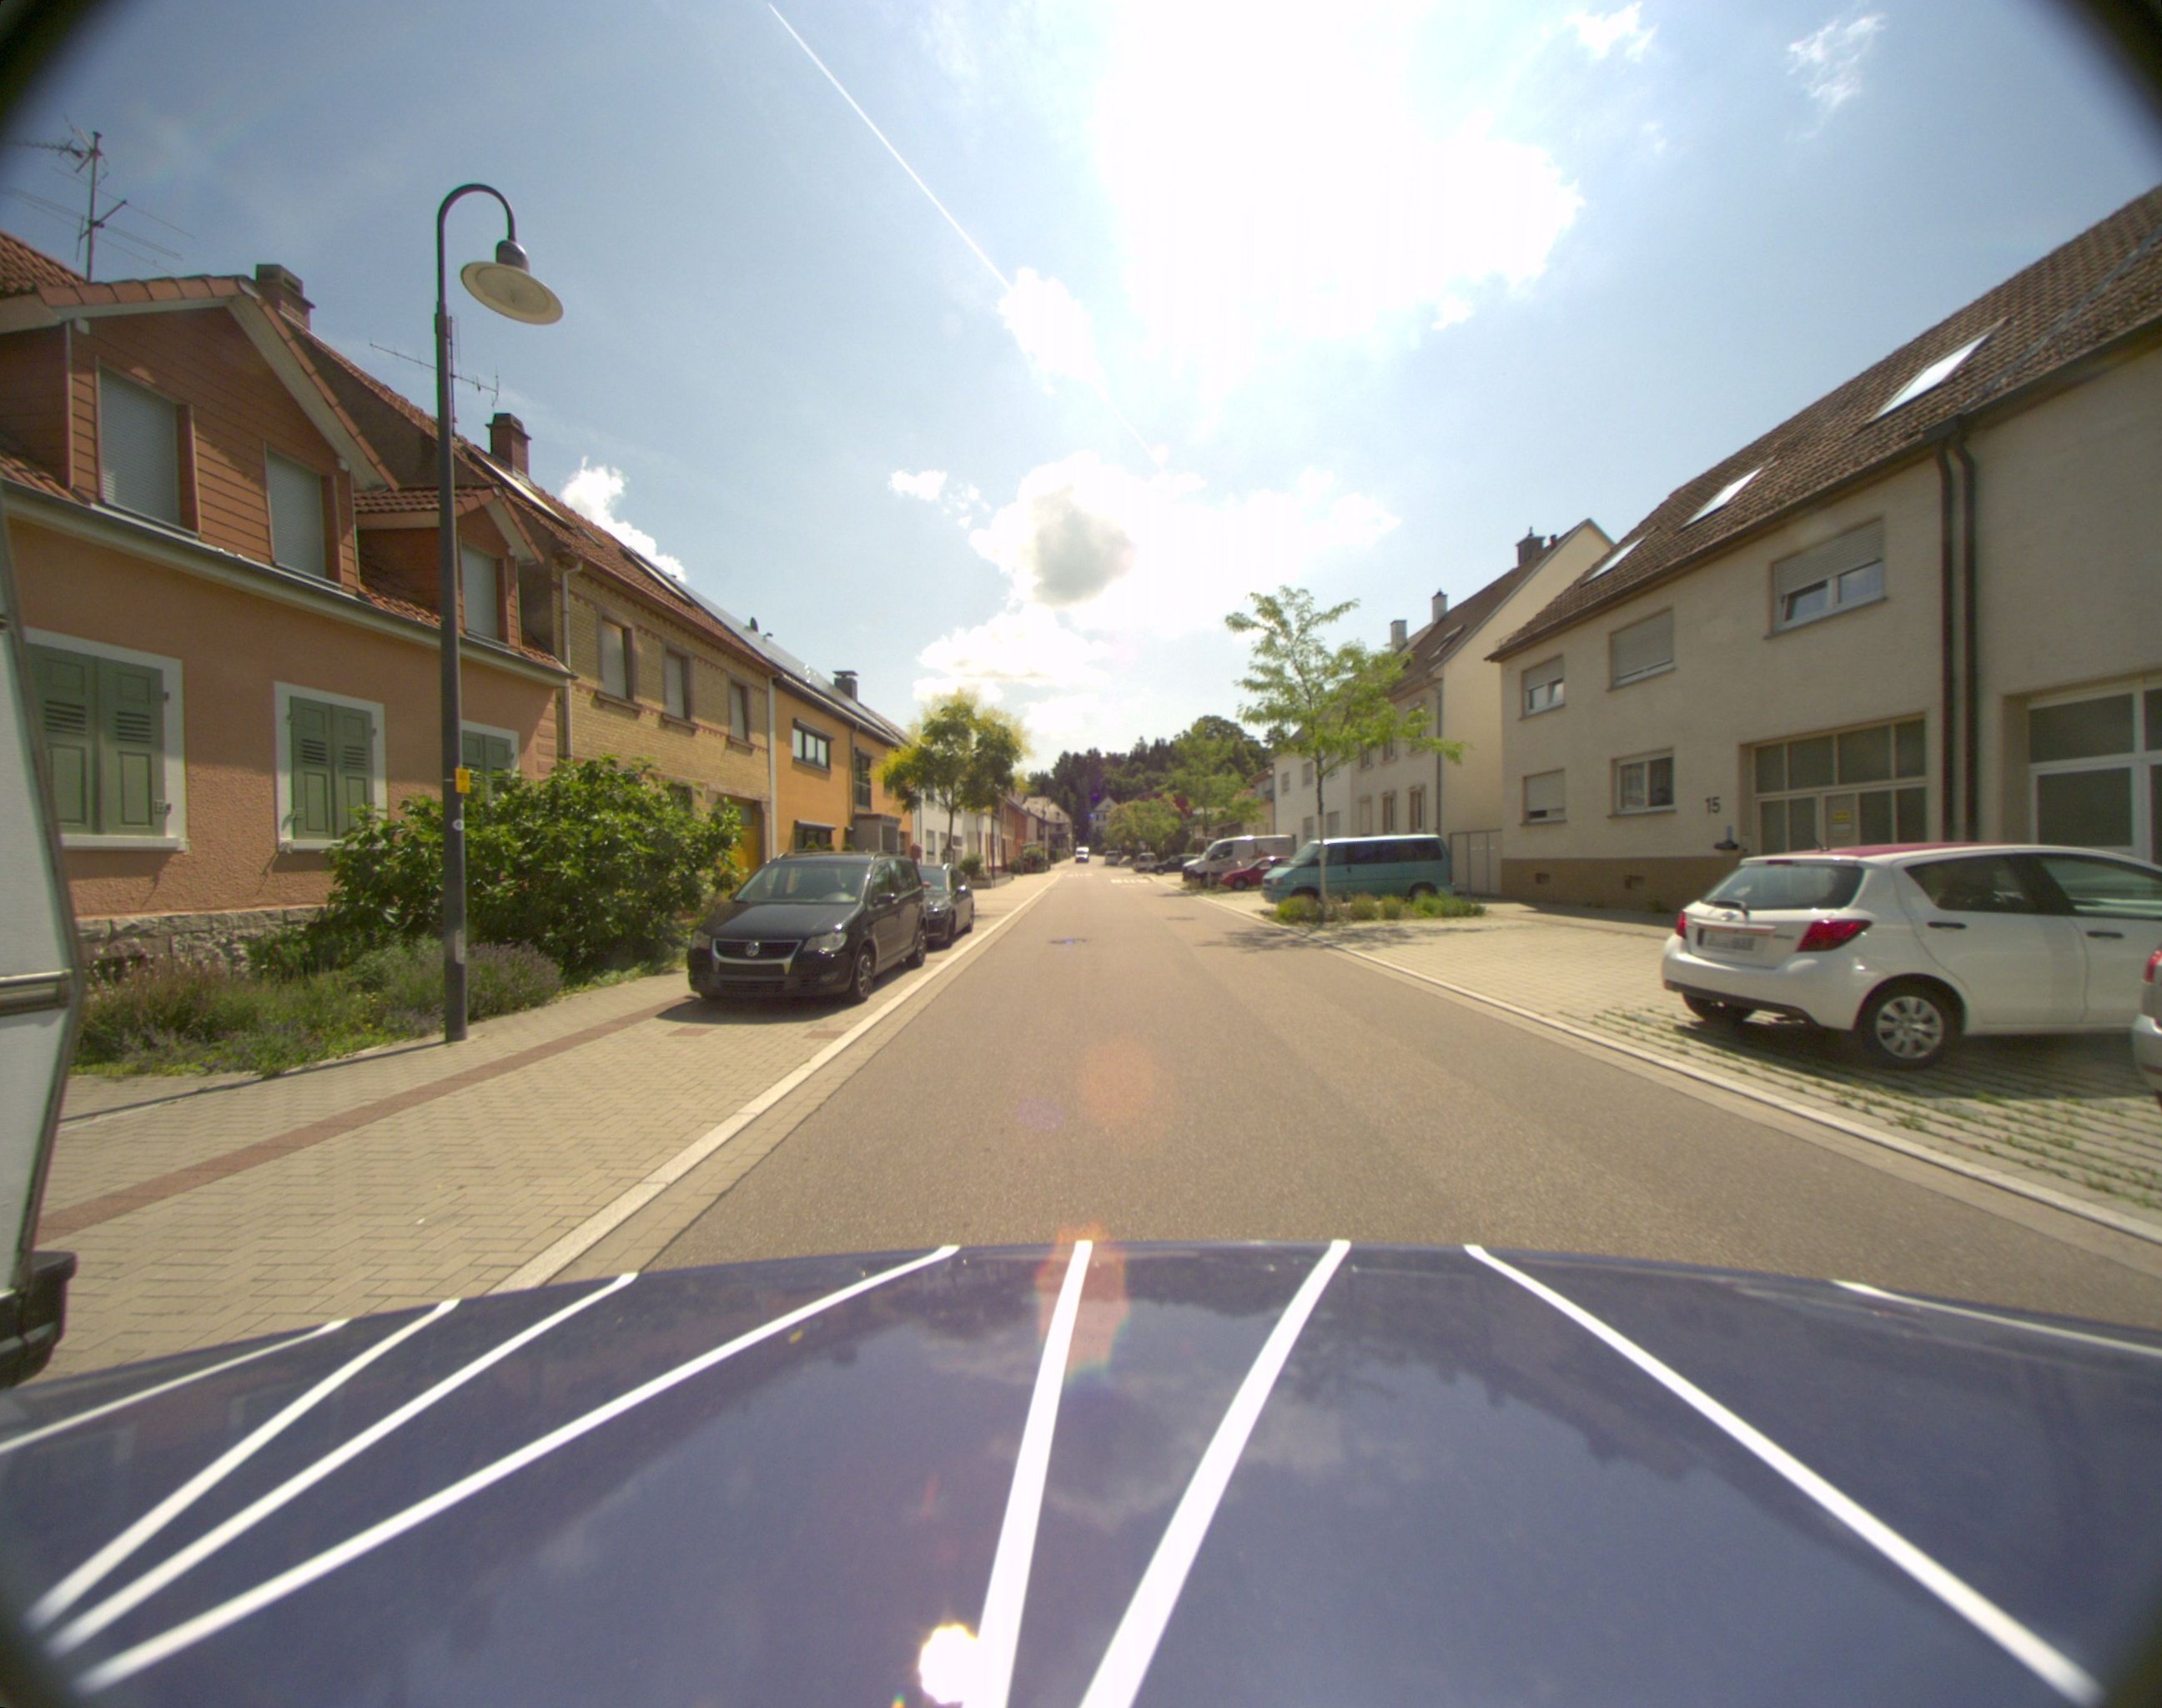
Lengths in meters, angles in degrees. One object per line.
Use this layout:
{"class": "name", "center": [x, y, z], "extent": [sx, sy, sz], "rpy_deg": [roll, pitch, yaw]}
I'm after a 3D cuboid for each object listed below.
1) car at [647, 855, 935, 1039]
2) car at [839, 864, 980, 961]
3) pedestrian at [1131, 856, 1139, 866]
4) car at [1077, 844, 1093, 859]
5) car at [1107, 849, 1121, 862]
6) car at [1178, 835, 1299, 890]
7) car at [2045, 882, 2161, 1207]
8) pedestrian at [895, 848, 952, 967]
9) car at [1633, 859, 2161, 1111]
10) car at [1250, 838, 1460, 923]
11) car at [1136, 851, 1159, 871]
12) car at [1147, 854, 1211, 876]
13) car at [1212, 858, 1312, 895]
{"class": "car", "center": [-3.156, 0.886, 9.352], "extent": [1.771, 1.695, 4.325], "rpy_deg": [-1, 0, 1]}
{"class": "car", "center": [-3.102, 0.986, 14.624], "extent": [1.771, 1.480, 4.296], "rpy_deg": [-1, 0, -1]}
{"class": "pedestrian", "center": [6.290, 0.817, 88.399], "extent": [0.815, 1.135, 0.885], "rpy_deg": [-3, 1, -3]}
{"class": "car", "center": [0.587, -0.380, 124.942], "extent": [2.489, 2.306, 5.599], "rpy_deg": [-3, 1, 0]}
{"class": "car", "center": [4.936, 0.193, 114.136], "extent": [1.998, 1.968, 3.999], "rpy_deg": [-1, 1, 0]}
{"class": "car", "center": [7.413, 0.388, 36.062], "extent": [5.180, 2.275, 2.157], "rpy_deg": [-3, 0, -1]}
{"class": "car", "center": [6.937, 0.834, 2.973], "extent": [3.925, 1.480, 1.773], "rpy_deg": [-2, 0, 3]}
{"class": "pedestrian", "center": [-2.498, 0.834, 12.102], "extent": [0.718, 1.842, 0.578], "rpy_deg": [-1, 1, 1]}
{"class": "car", "center": [6.800, 0.856, 5.717], "extent": [3.925, 1.480, 1.773], "rpy_deg": [-2, 0, 3]}
{"class": "car", "center": [6.982, 0.635, 19.730], "extent": [4.688, 1.896, 2.000], "rpy_deg": [-3, 1, 1]}
{"class": "car", "center": [6.077, 0.636, 69.765], "extent": [1.844, 1.737, 4.687], "rpy_deg": [-3, -1, 2]}
{"class": "car", "center": [7.416, 0.822, 57.849], "extent": [4.598, 1.508, 1.901], "rpy_deg": [-2, 0, 1]}
{"class": "car", "center": [7.643, 0.934, 32.340], "extent": [3.792, 1.377, 1.725], "rpy_deg": [-3, 1, 1]}
